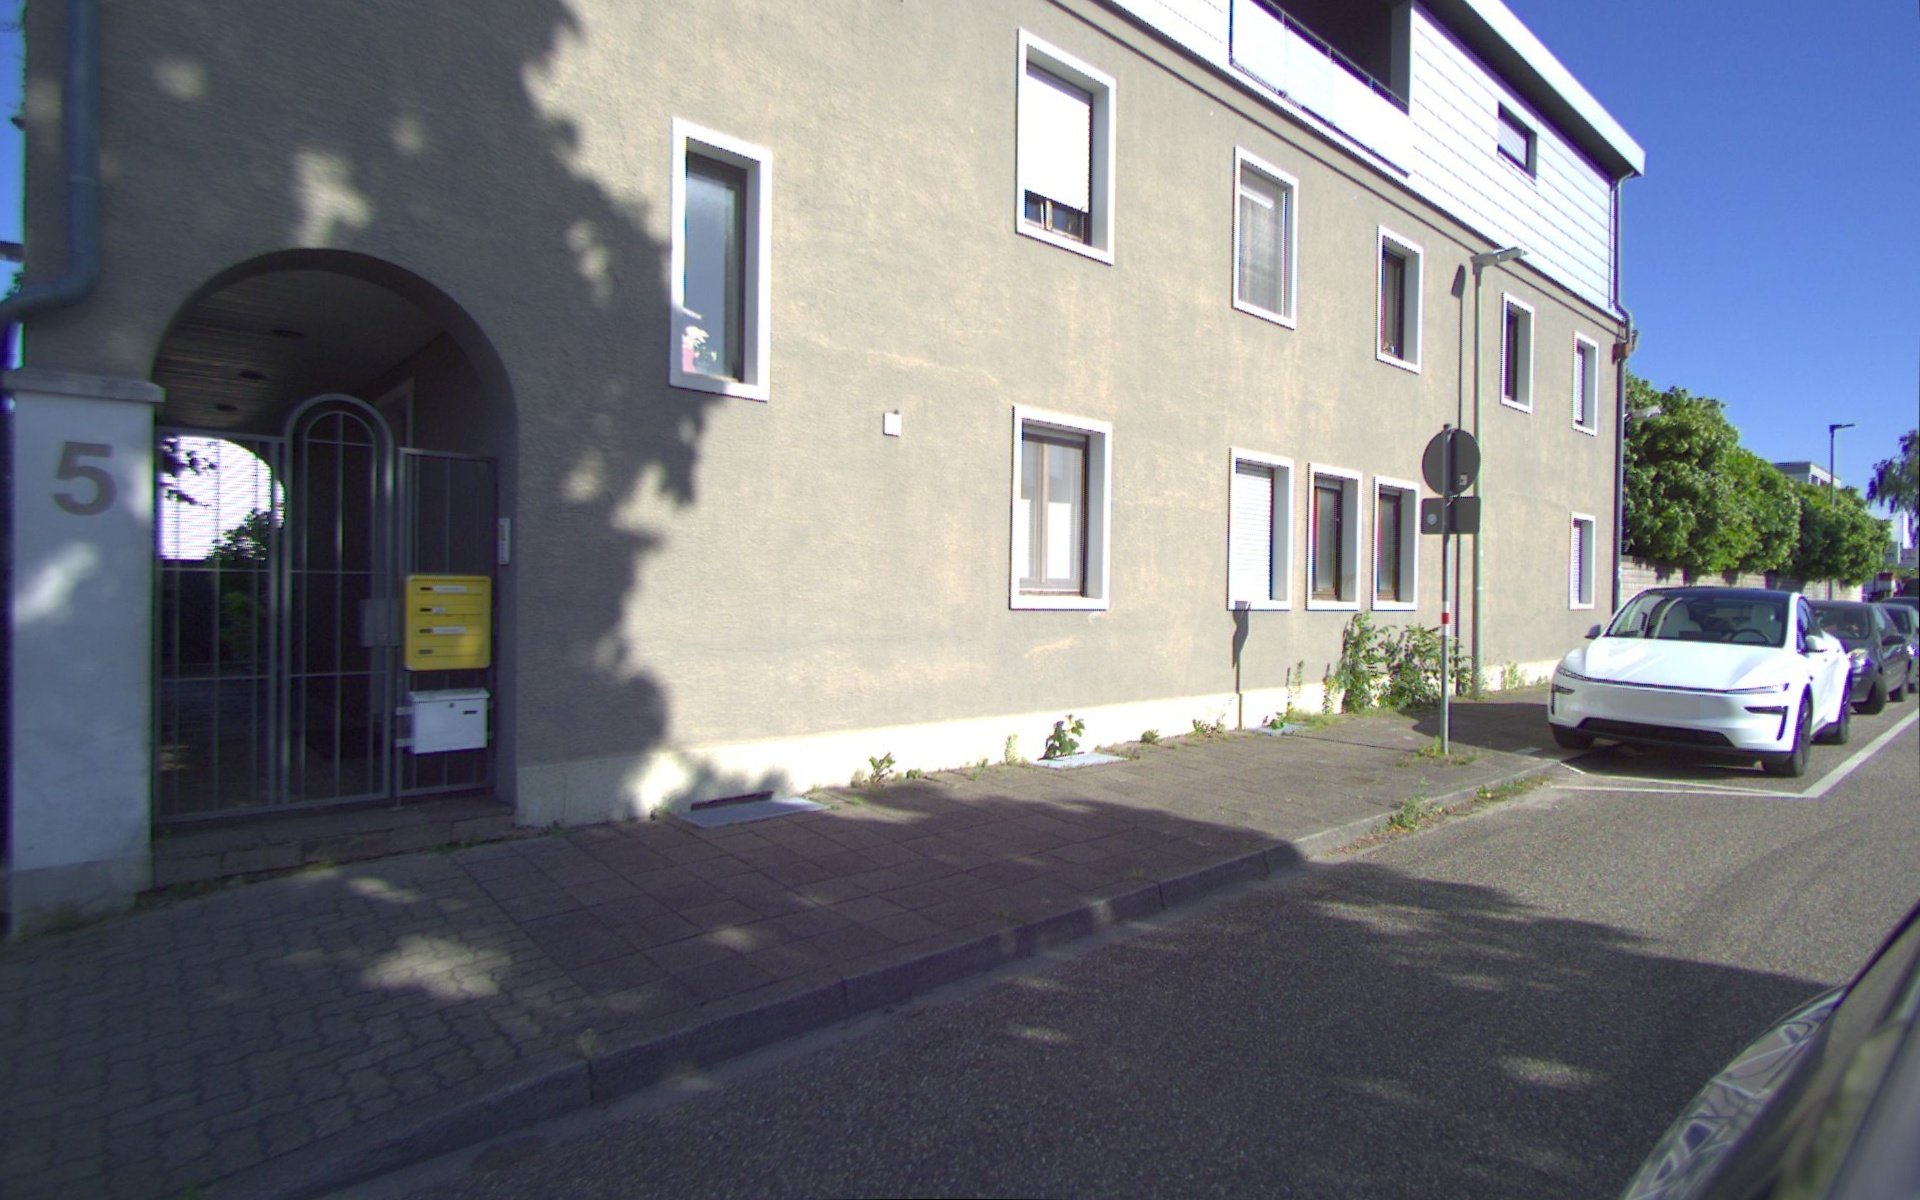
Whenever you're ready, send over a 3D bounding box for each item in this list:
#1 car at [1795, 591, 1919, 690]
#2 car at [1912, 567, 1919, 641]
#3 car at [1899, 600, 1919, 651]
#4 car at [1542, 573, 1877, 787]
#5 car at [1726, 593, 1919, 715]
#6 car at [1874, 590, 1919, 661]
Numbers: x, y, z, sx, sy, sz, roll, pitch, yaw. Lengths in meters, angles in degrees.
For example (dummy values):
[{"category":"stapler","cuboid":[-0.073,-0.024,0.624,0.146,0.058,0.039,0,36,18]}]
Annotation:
[{"category":"car","cuboid":[16.039,0.630,17.652,3.961,1.523,1.662,0,1,-41]},{"category":"car","cuboid":[32.205,0.149,32.511,5.056,2.288,1.895,0,1,-41]},{"category":"car","cuboid":[27.361,0.697,27.971,4.032,1.335,1.657,0,1,-41]},{"category":"car","cuboid":[7.752,0.609,10.268,4.690,1.665,1.934,0,1,-43]},{"category":"car","cuboid":[12.658,0.675,14.546,4.112,1.491,1.603,0,1,-38]},{"category":"car","cuboid":[23.677,0.583,24.606,4.132,1.634,1.684,0,-1,-41]}]
